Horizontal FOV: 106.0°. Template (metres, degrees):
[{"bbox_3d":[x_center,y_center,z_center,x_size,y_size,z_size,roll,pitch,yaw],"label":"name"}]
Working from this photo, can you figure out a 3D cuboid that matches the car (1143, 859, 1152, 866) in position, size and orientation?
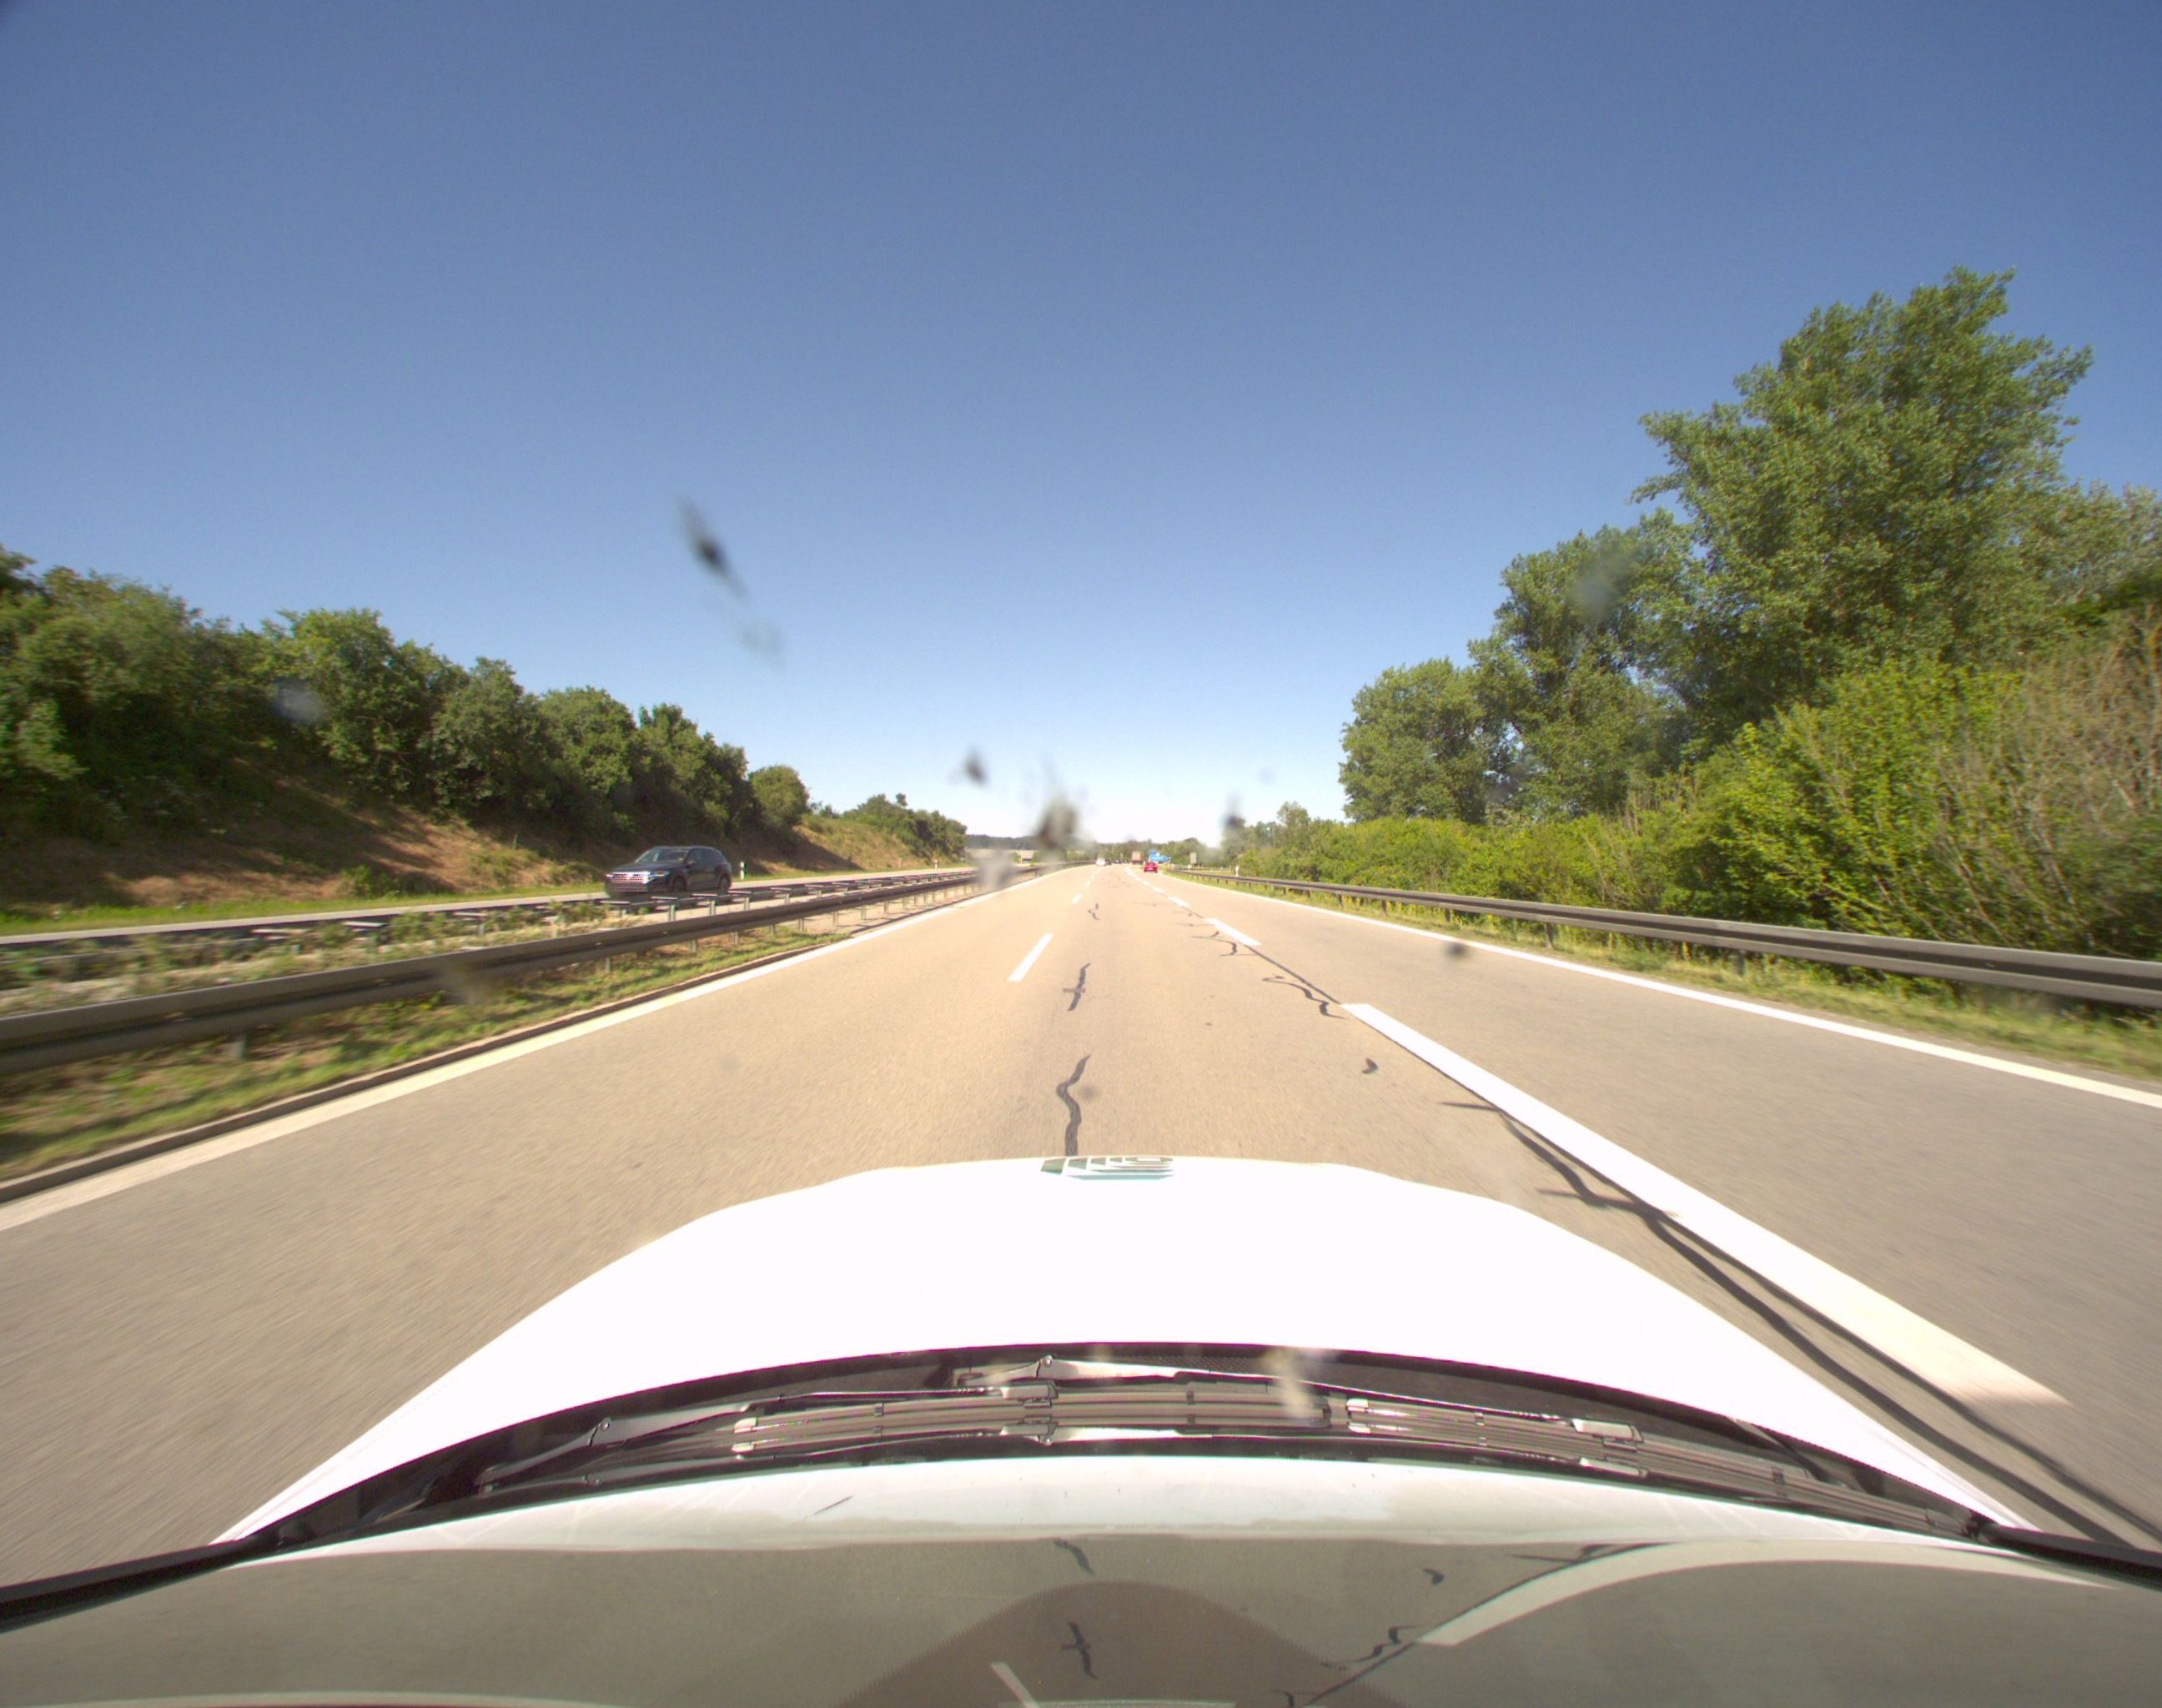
[{"bbox_3d":[15.773,2.045,192.516,1.986,1.750,4.001,1,0,2],"label":"car"}]

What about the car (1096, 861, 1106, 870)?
[{"bbox_3d":[4.007,2.257,162.284,2.054,1.625,4.001,0,-3,2],"label":"car"}]

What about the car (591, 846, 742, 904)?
[{"bbox_3d":[-12.775,0.645,25.589,1.986,1.645,5.085,0,-1,2],"label":"car"}]

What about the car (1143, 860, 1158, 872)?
[{"bbox_3d":[9.480,1.636,110.695,1.774,1.431,4.009,4,-1,8],"label":"car"}]

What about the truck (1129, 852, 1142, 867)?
[{"bbox_3d":[16.372,1.506,243.929,3.820,4.397,11.485,0,0,4],"label":"truck"}]

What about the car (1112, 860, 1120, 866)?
[{"bbox_3d":[9.712,2.500,225.034,1.986,1.750,4.001,1,0,2],"label":"car"}]

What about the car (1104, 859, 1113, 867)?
[{"bbox_3d":[6.060,2.032,181.865,1.986,1.750,4.001,1,0,2],"label":"car"}]

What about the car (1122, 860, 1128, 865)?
[{"bbox_3d":[13.780,2.660,254.743,1.985,1.750,4.004,1,0,4],"label":"car"}]
